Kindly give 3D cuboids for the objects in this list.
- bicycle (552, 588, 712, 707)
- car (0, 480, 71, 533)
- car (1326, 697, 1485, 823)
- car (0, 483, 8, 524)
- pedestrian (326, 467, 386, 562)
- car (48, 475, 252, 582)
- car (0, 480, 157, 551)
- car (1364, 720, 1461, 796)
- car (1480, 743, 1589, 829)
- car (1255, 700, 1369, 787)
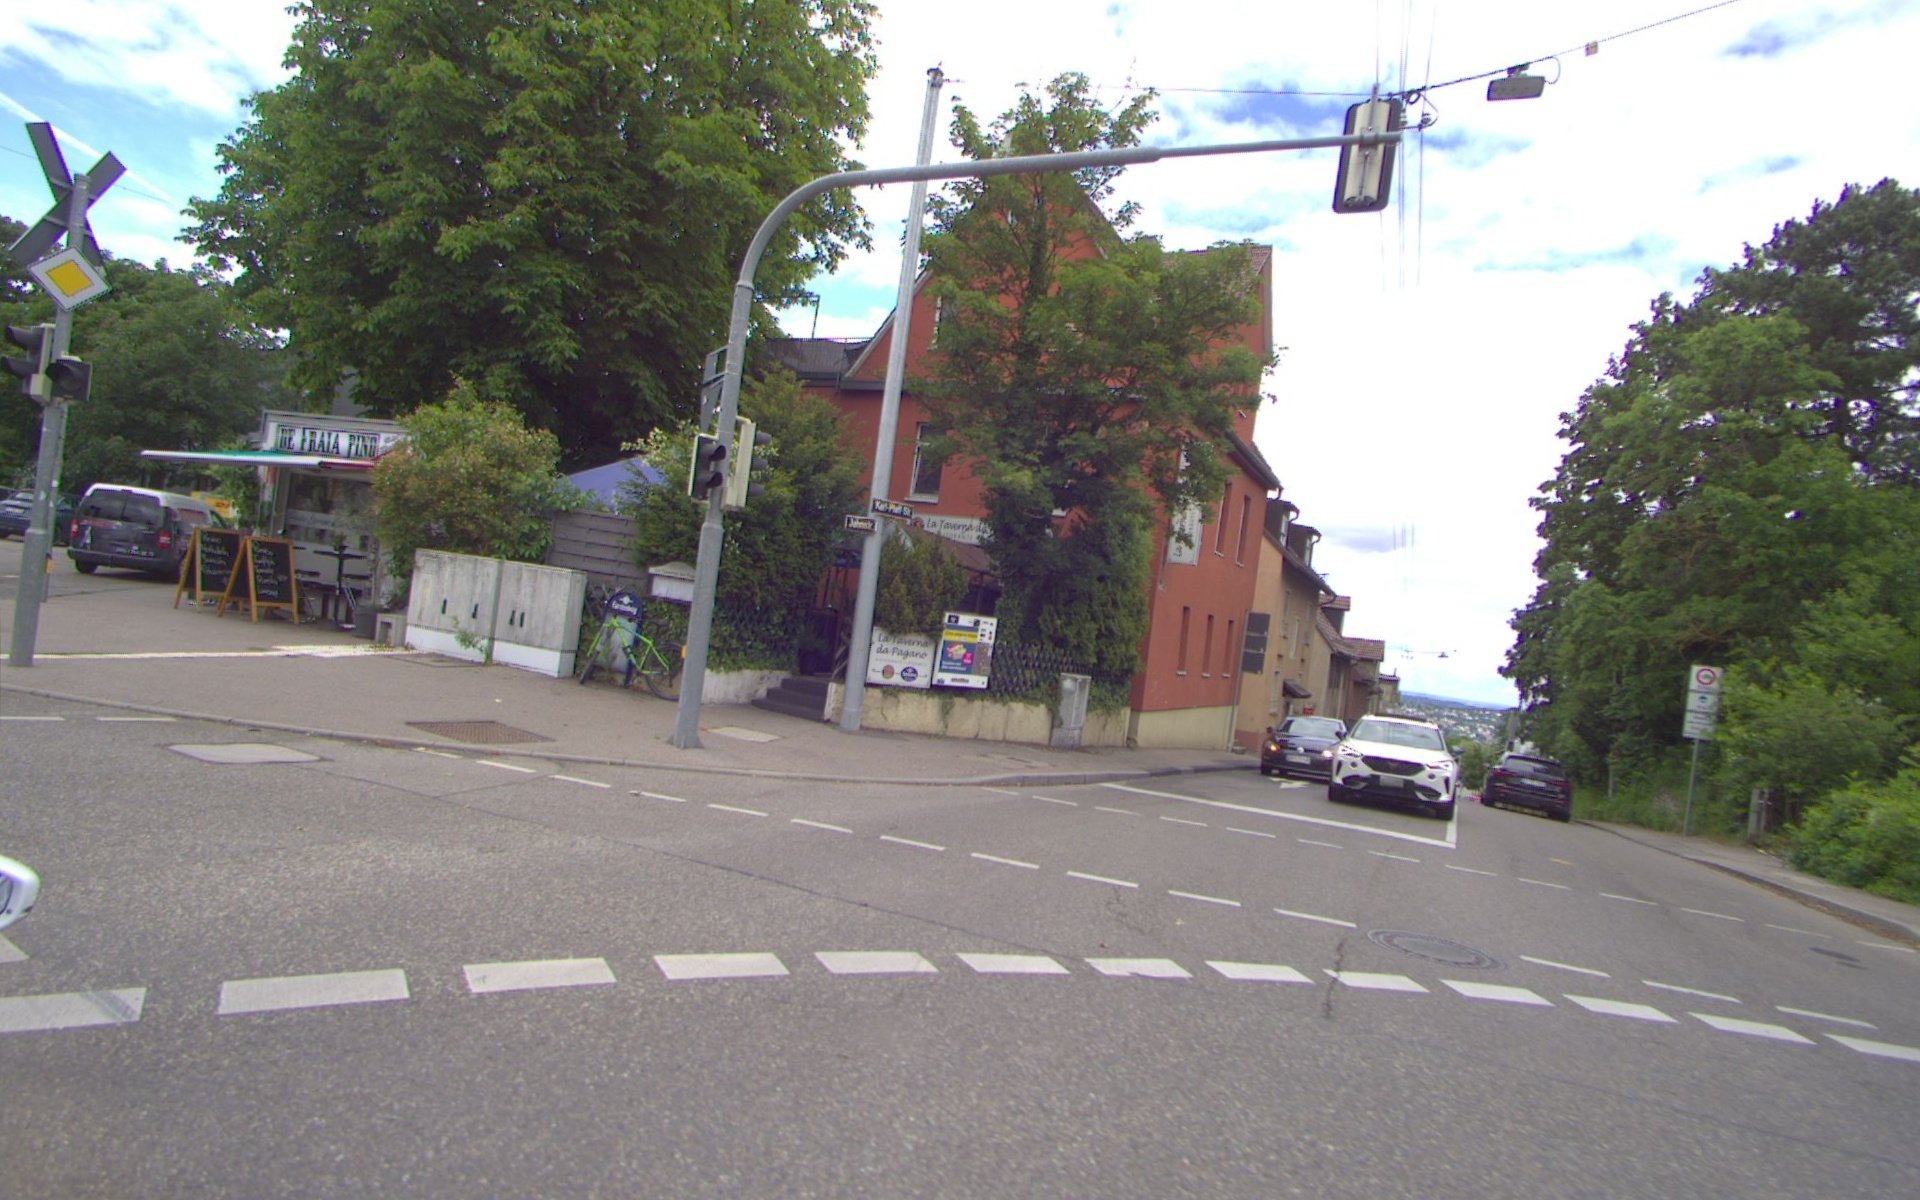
[{"bbox_3d":[-4.210,0.597,12.897,1.843,1.152,0.550,11,1,20],"label":"bicycle"},{"bbox_3d":[-30.465,-3.070,31.716,1.519,1.394,3.517,9,0,1],"label":"car"},{"bbox_3d":[7.318,2.526,16.855,1.963,1.480,4.522,7,-2,22],"label":"car"},{"bbox_3d":[-34.846,-3.502,34.027,1.561,1.453,3.650,6,1,5],"label":"car"},{"bbox_3d":[-12.133,-1.711,20.216,0.667,1.782,0.684,10,3,38],"label":"pedestrian"},{"bbox_3d":[-17.063,-1.452,21.507,1.826,1.770,4.673,8,0,-20],"label":"car"},{"bbox_3d":[-26.090,-2.454,29.427,1.845,1.494,4.001,8,-1,0],"label":"car"},{"bbox_3d":[11.787,4.062,26.114,1.965,1.478,4.523,7,-4,26],"label":"car"},{"bbox_3d":[14.382,4.587,25.418,1.965,1.480,4.518,7,-2,27],"label":"car"},{"bbox_3d":[8.150,3.261,23.011,1.964,1.478,4.525,7,-4,25],"label":"car"}]
